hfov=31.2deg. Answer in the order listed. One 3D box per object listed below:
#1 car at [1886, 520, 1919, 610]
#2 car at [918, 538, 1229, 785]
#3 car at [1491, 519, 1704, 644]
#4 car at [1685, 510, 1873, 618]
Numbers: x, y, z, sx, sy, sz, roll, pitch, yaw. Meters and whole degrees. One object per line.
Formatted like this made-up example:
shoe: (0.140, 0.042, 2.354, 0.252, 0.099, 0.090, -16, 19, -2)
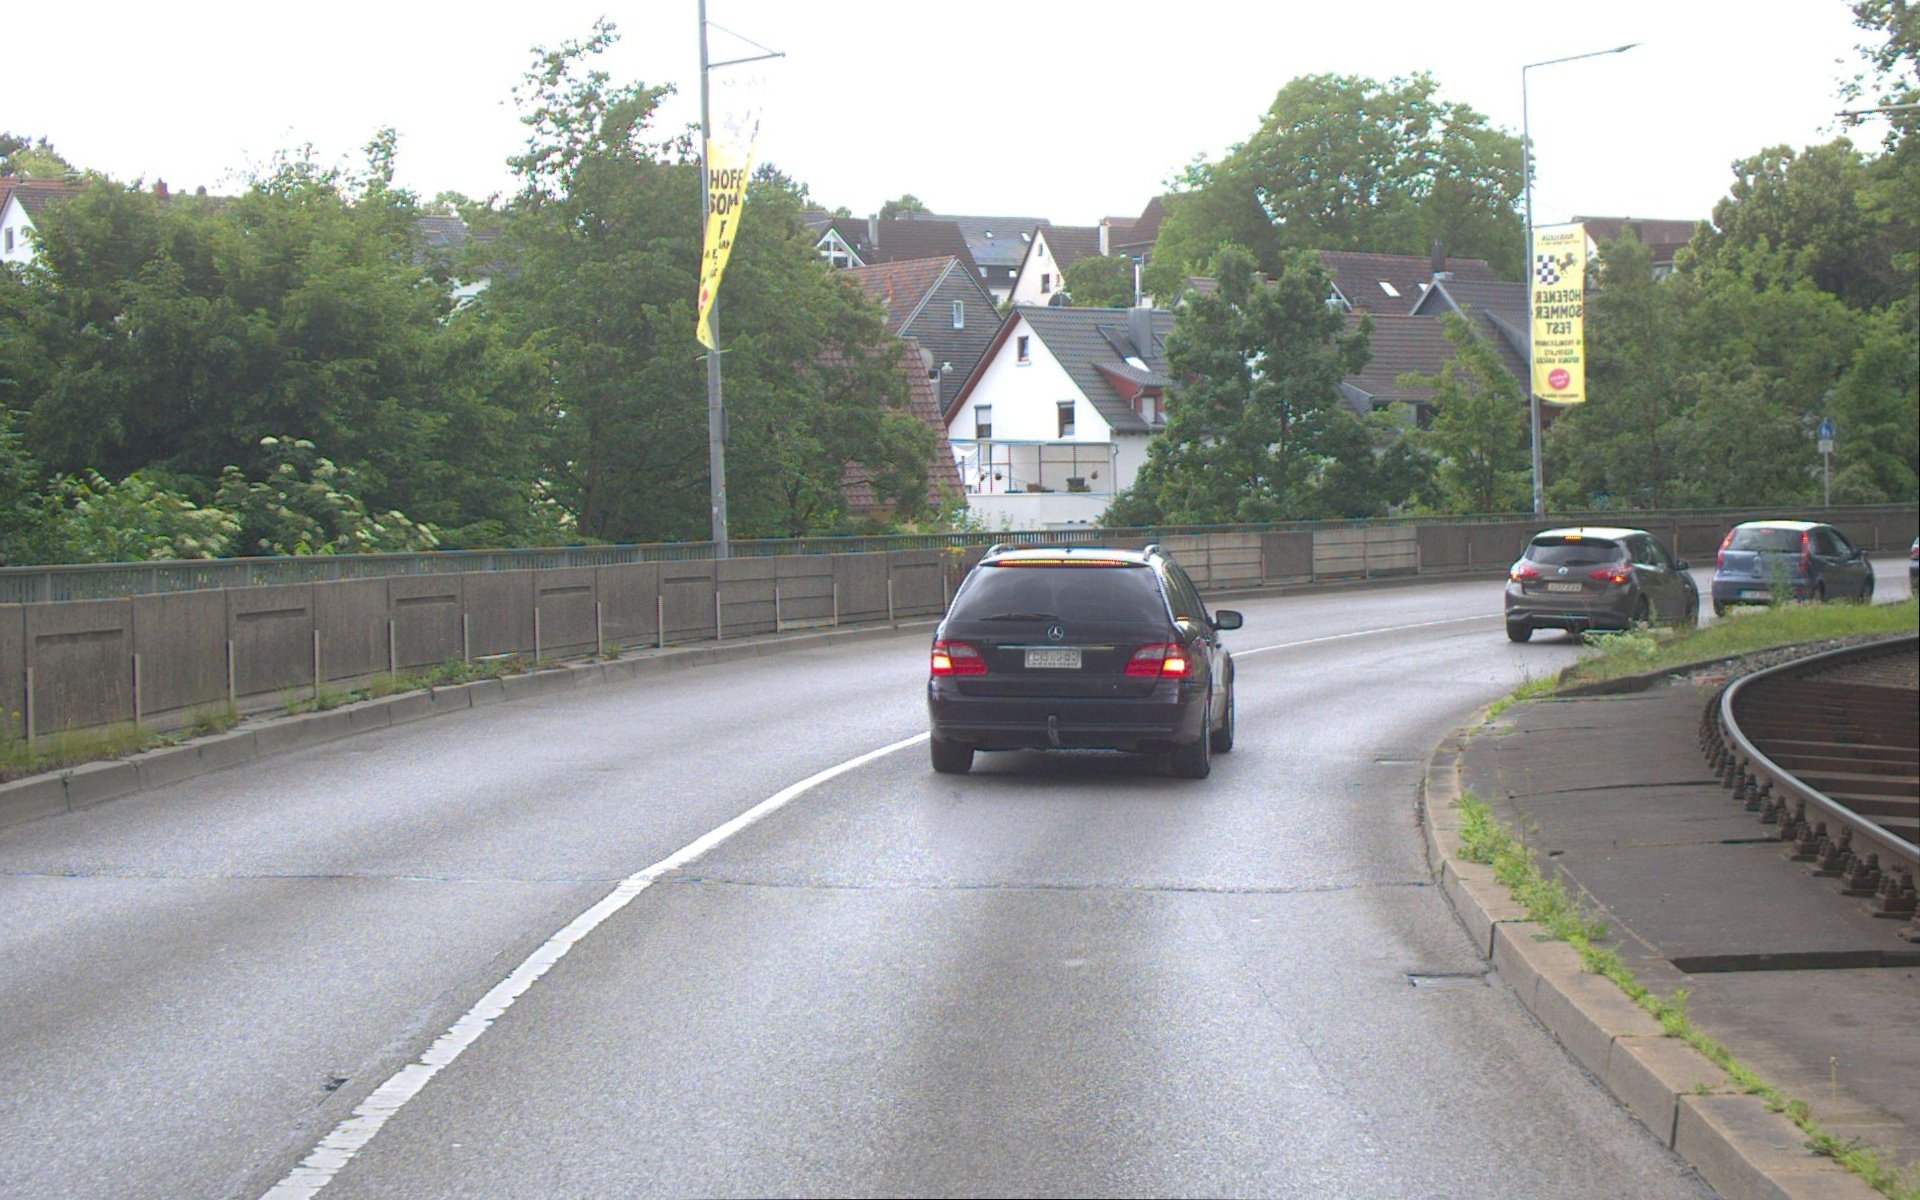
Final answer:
car: (17.905, -0.648, 60.761, 1.773, 1.550, 4.233, 0, 1, 32)
car: (0.864, 0.362, 23.349, 1.759, 1.510, 4.441, 0, 0, 6)
car: (8.636, -0.280, 46.306, 1.773, 1.550, 4.235, -1, 1, 25)
car: (12.871, -0.590, 53.866, 1.795, 1.550, 4.379, -1, 1, 28)
